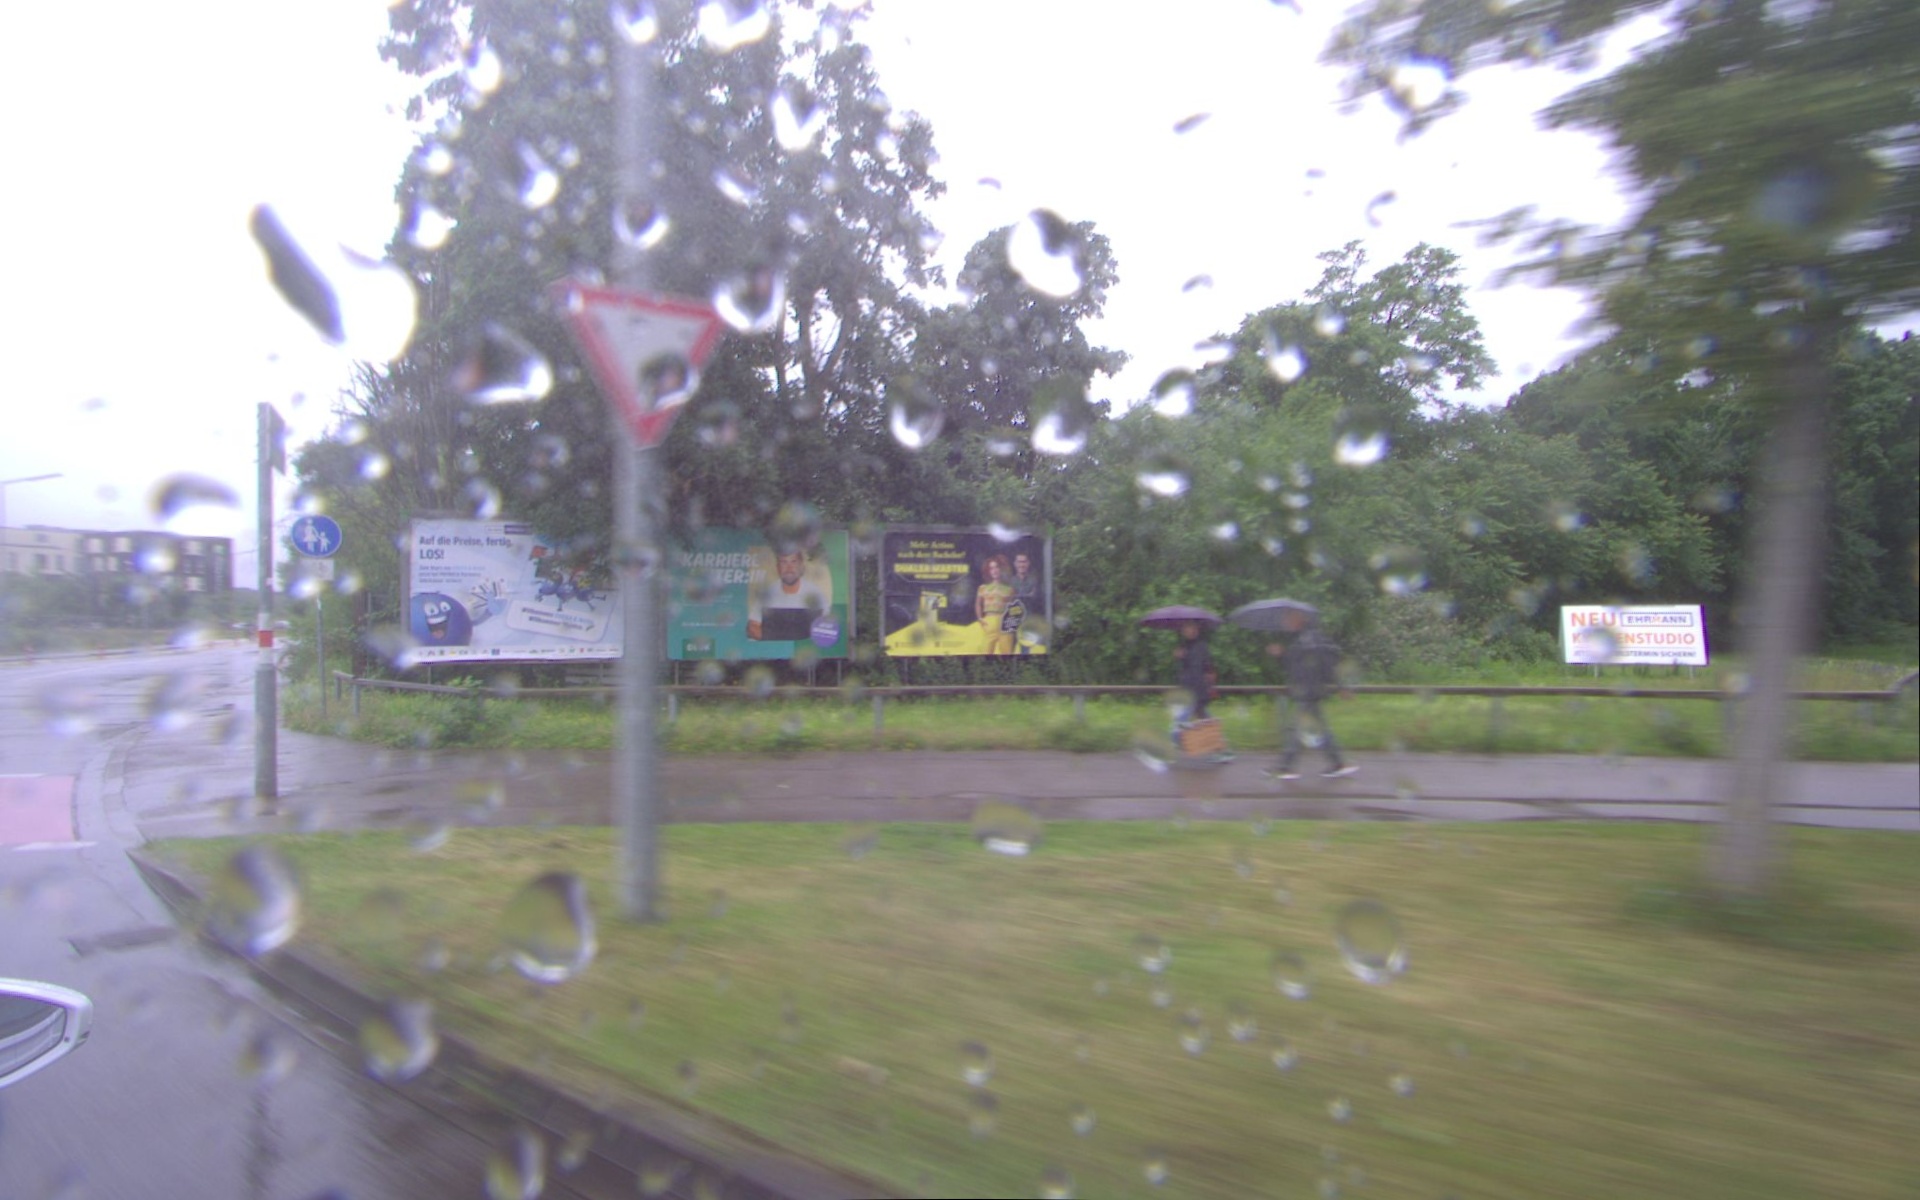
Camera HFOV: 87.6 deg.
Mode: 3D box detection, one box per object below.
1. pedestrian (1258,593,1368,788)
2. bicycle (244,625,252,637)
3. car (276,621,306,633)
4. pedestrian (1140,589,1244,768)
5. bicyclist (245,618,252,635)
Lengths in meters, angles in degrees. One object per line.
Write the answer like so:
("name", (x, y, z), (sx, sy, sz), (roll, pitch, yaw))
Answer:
("pedestrian", (3.491, 0.872, 9.882), (0.796, 1.806, 0.920), (-3, -3, 31))
("bicycle", (-62.053, 2.671, 87.308), (0.422, 1.032, 1.603), (1, -1, -31))
("car", (-117.732, 4.772, 176.209), (1.965, 1.793, 3.995), (-2, -3, 20))
("pedestrian", (2.494, 0.833, 10.736), (0.796, 1.806, 0.920), (-3, -3, 31))
("bicyclist", (-62.052, 2.328, 87.323), (0.439, 1.421, 0.548), (0, -3, -30))
